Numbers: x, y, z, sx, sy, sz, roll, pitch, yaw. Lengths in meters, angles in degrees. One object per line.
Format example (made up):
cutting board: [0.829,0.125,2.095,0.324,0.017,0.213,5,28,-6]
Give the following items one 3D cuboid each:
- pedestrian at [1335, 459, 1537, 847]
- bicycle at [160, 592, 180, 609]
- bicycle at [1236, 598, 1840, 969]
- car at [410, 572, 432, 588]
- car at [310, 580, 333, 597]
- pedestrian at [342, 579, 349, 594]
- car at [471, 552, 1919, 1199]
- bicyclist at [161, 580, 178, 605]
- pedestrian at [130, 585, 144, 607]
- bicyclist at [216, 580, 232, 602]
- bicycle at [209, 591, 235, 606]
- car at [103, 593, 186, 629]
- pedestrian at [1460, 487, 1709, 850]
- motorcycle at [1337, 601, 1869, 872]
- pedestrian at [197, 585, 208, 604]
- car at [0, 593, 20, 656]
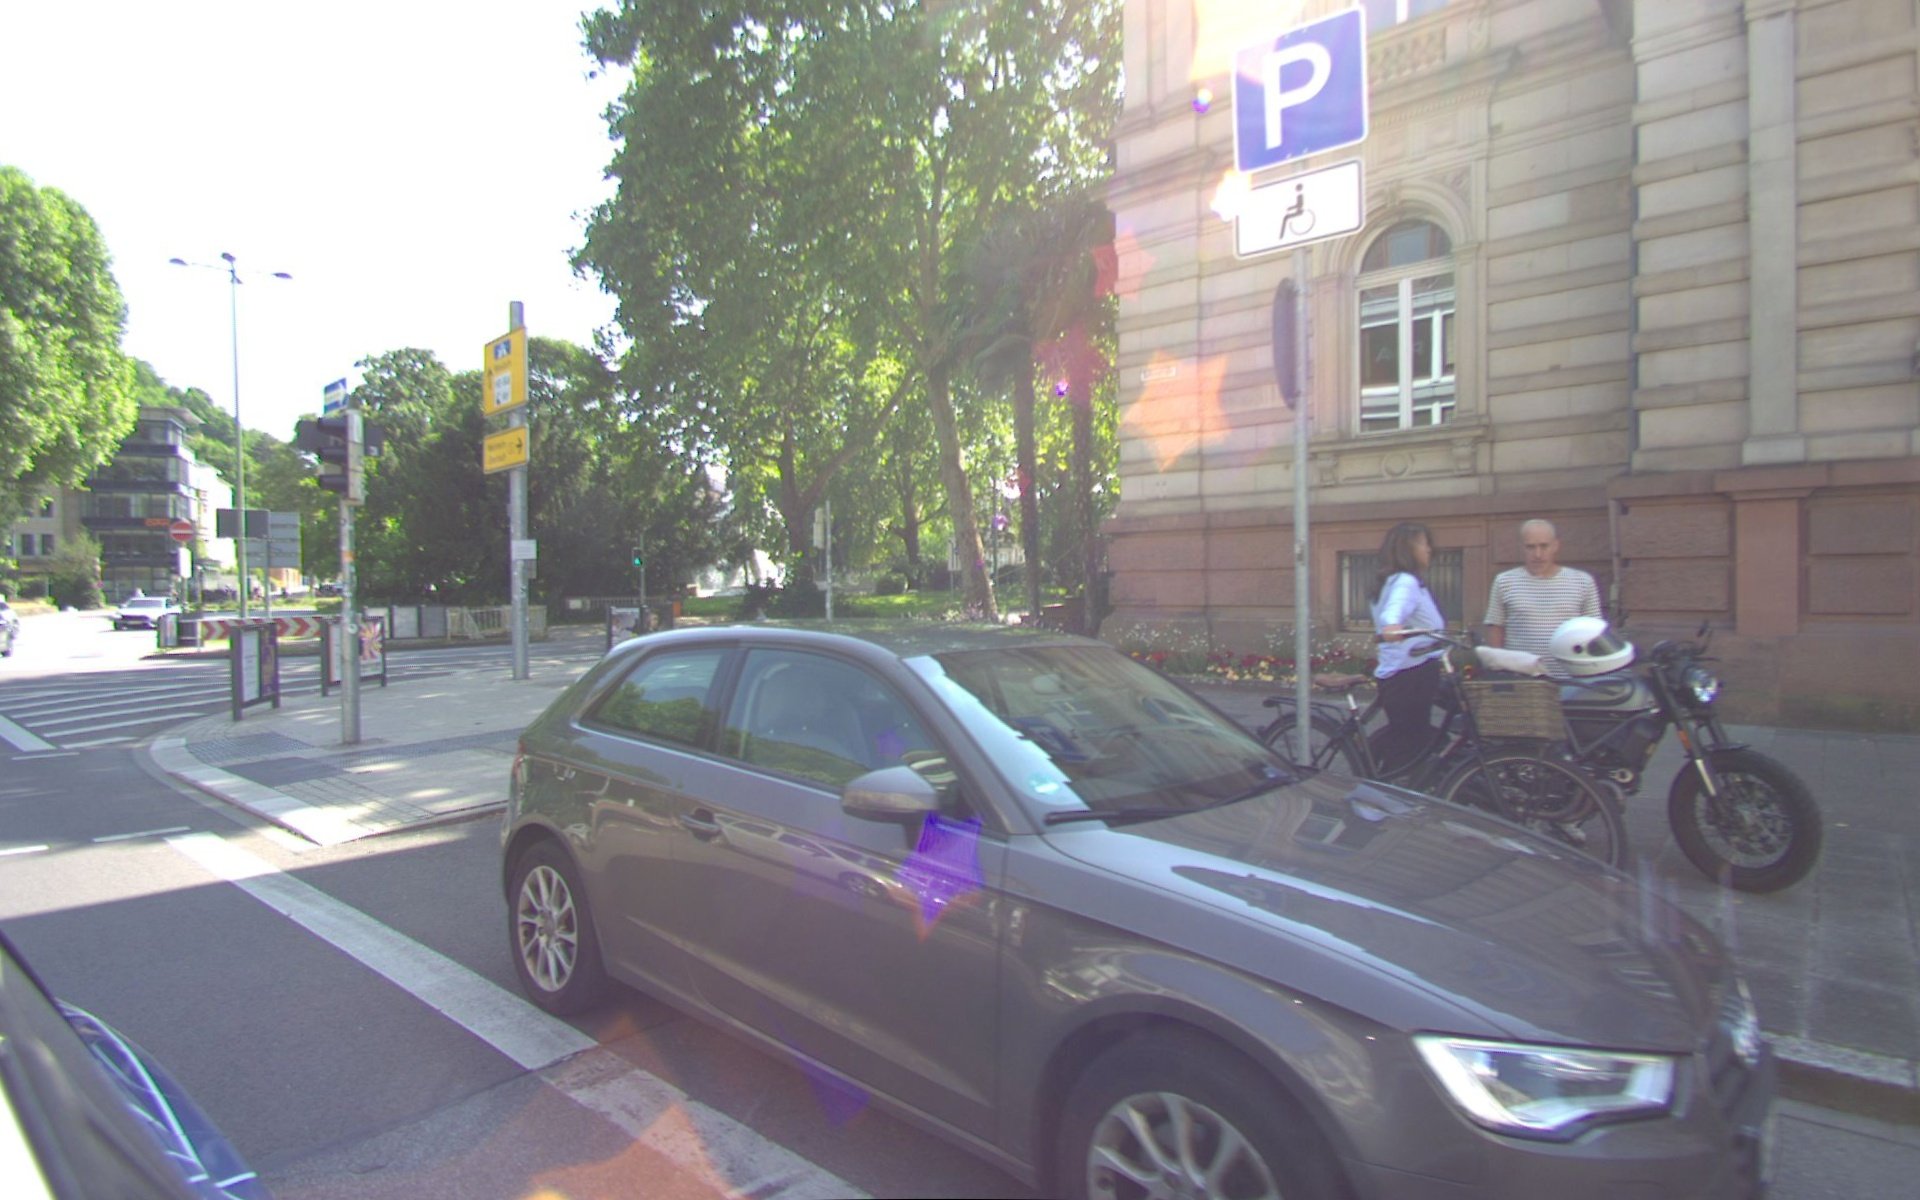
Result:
pedestrian: [2.315,0.220,4.926,0.691,1.707,0.687,2,2,44]
bicycle: [-54.012,0.028,69.200,0.747,1.129,2.008,-1,3,-28]
bicycle: [2.242,0.605,4.336,0.424,1.128,2.248,-4,4,-37]
car: [-57.101,-2.107,107.122,1.820,1.674,4.012,-2,2,-31]
car: [-70.092,-1.300,111.180,1.820,1.801,4.013,-2,1,-29]
pedestrian: [-70.259,-1.528,115.663,0.592,1.717,0.606,-2,2,-25]
car: [0.235,0.622,3.337,4.249,1.364,1.915,-1,1,43]
bicyclist: [-54.013,-0.522,69.151,0.753,1.648,0.946,-1,2,-29]
pedestrian: [-61.959,-0.315,76.188,0.699,1.685,0.536,-2,2,-31]
bicyclist: [-55.920,-0.669,76.897,0.700,1.625,0.733,-1,2,-11]
bicycle: [-56.015,-0.147,76.824,0.700,1.062,2.213,-1,2,-11]
car: [-36.541,0.443,45.479,1.909,1.439,4.565,-1,2,-26]
pedestrian: [3.182,0.300,5.198,0.542,1.677,0.938,-1,2,-40]
motorcycle: [2.963,0.539,4.954,0.448,1.005,2.165,-4,3,-39]
pedestrian: [-70.442,-0.544,94.139,0.592,1.717,0.606,-2,2,-23]
car: [-26.871,0.672,26.986,1.859,1.696,4.154,0,0,-32]
